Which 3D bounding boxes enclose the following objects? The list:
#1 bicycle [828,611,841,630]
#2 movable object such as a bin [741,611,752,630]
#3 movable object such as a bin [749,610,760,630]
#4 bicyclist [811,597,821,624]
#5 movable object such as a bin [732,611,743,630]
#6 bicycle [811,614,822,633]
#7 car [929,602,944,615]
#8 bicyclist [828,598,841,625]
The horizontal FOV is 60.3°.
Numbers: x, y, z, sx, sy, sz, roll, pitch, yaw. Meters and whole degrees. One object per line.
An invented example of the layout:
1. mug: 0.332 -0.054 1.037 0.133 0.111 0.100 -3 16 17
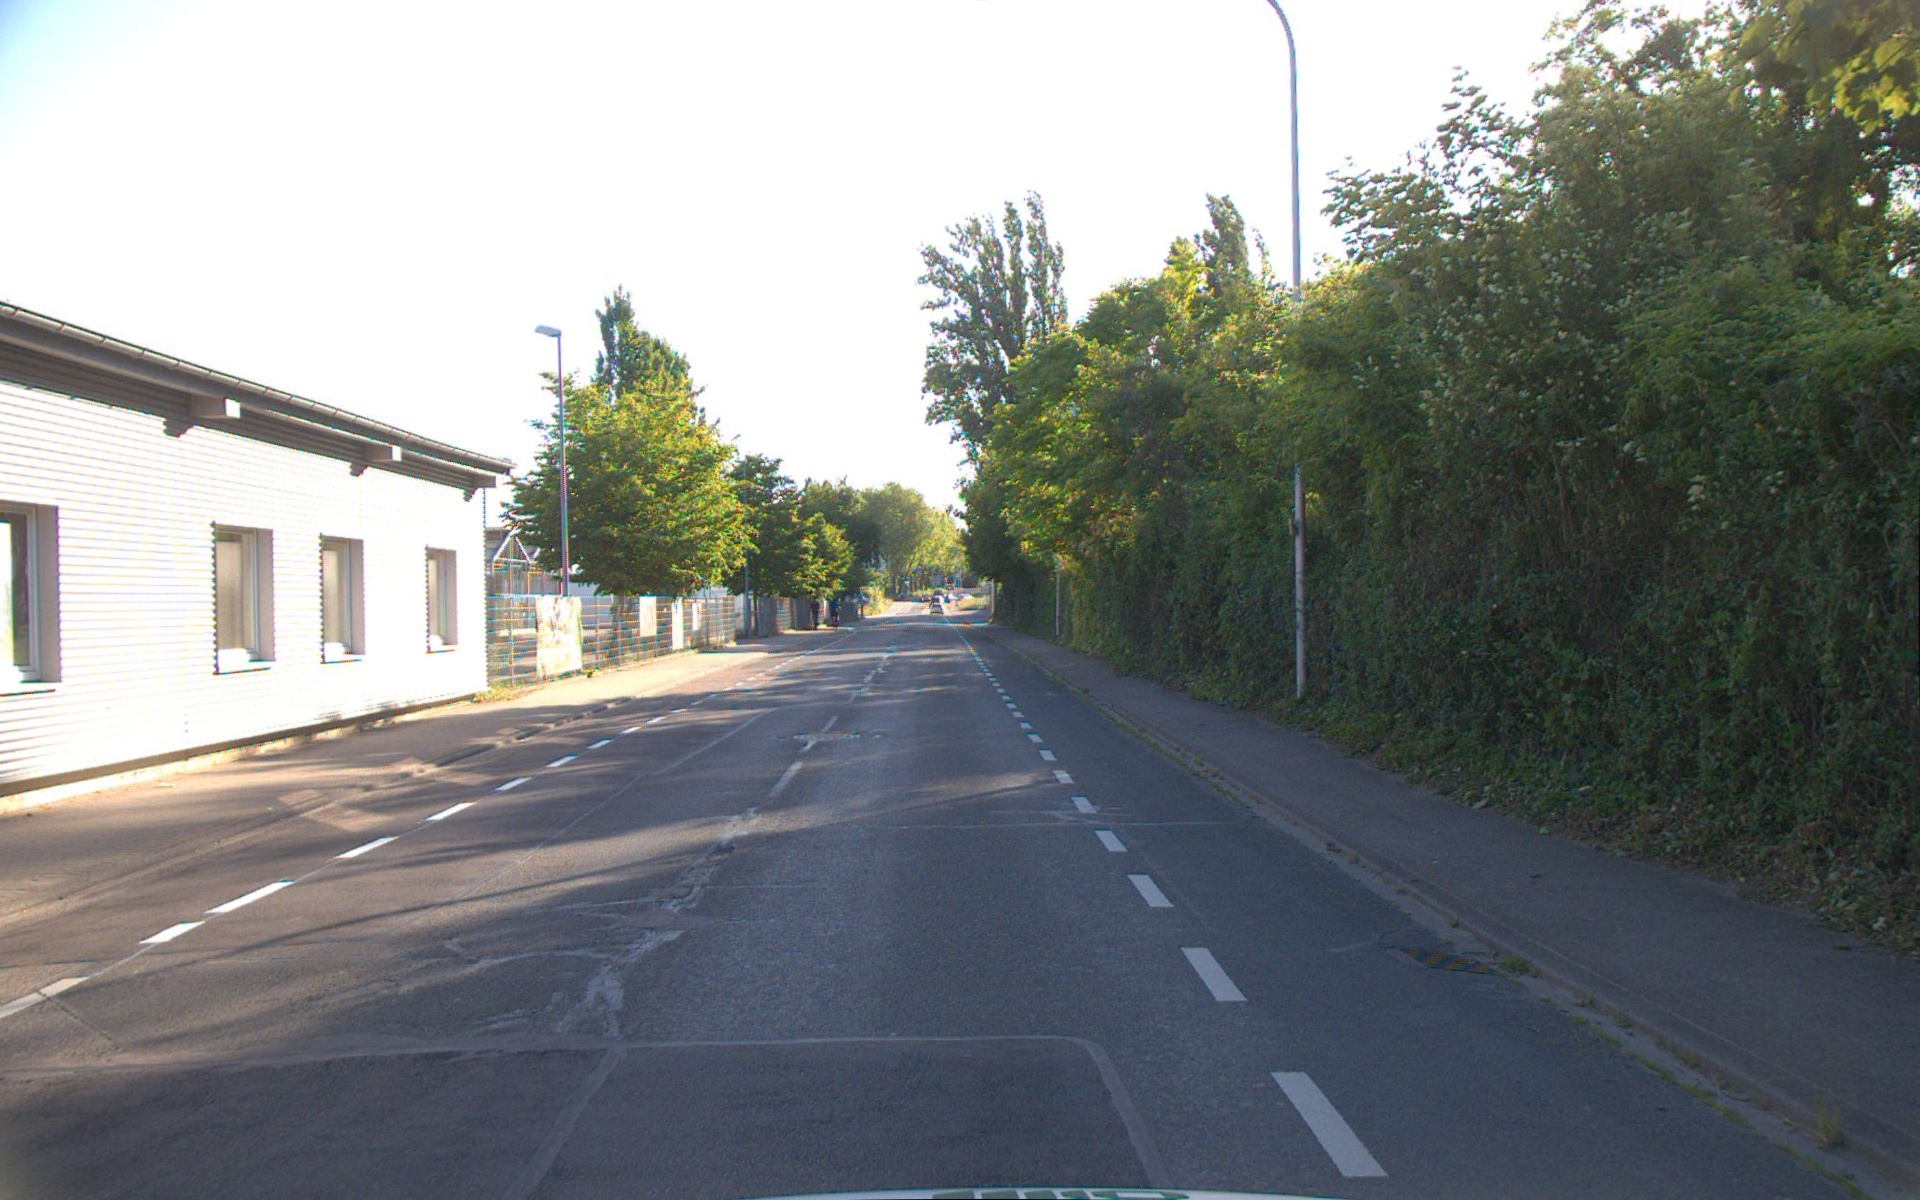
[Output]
1. bicycle: -7.178 1.167 94.630 0.675 1.052 1.350 0 0 -1
2. movable object such as a bin: -12.628 1.199 97.825 0.453 1.095 1.569 -2 0 -1
3. movable object such as a bin: -12.122 1.174 97.657 0.453 1.095 1.569 -2 0 -1
4. bicyclist: -8.294 0.609 95.375 0.548 1.560 0.689 0 0 -1
5. movable object such as a bin: -13.159 1.222 97.749 0.453 1.095 1.569 -2 0 -1
6. bicycle: -8.287 1.351 95.454 0.551 1.052 1.350 0 0 -1
7. car: -3.046 1.111 213.512 1.903 1.680 4.309 0 0 -1
8. bicyclist: -7.158 0.654 94.591 0.675 1.559 0.722 0 0 -1
